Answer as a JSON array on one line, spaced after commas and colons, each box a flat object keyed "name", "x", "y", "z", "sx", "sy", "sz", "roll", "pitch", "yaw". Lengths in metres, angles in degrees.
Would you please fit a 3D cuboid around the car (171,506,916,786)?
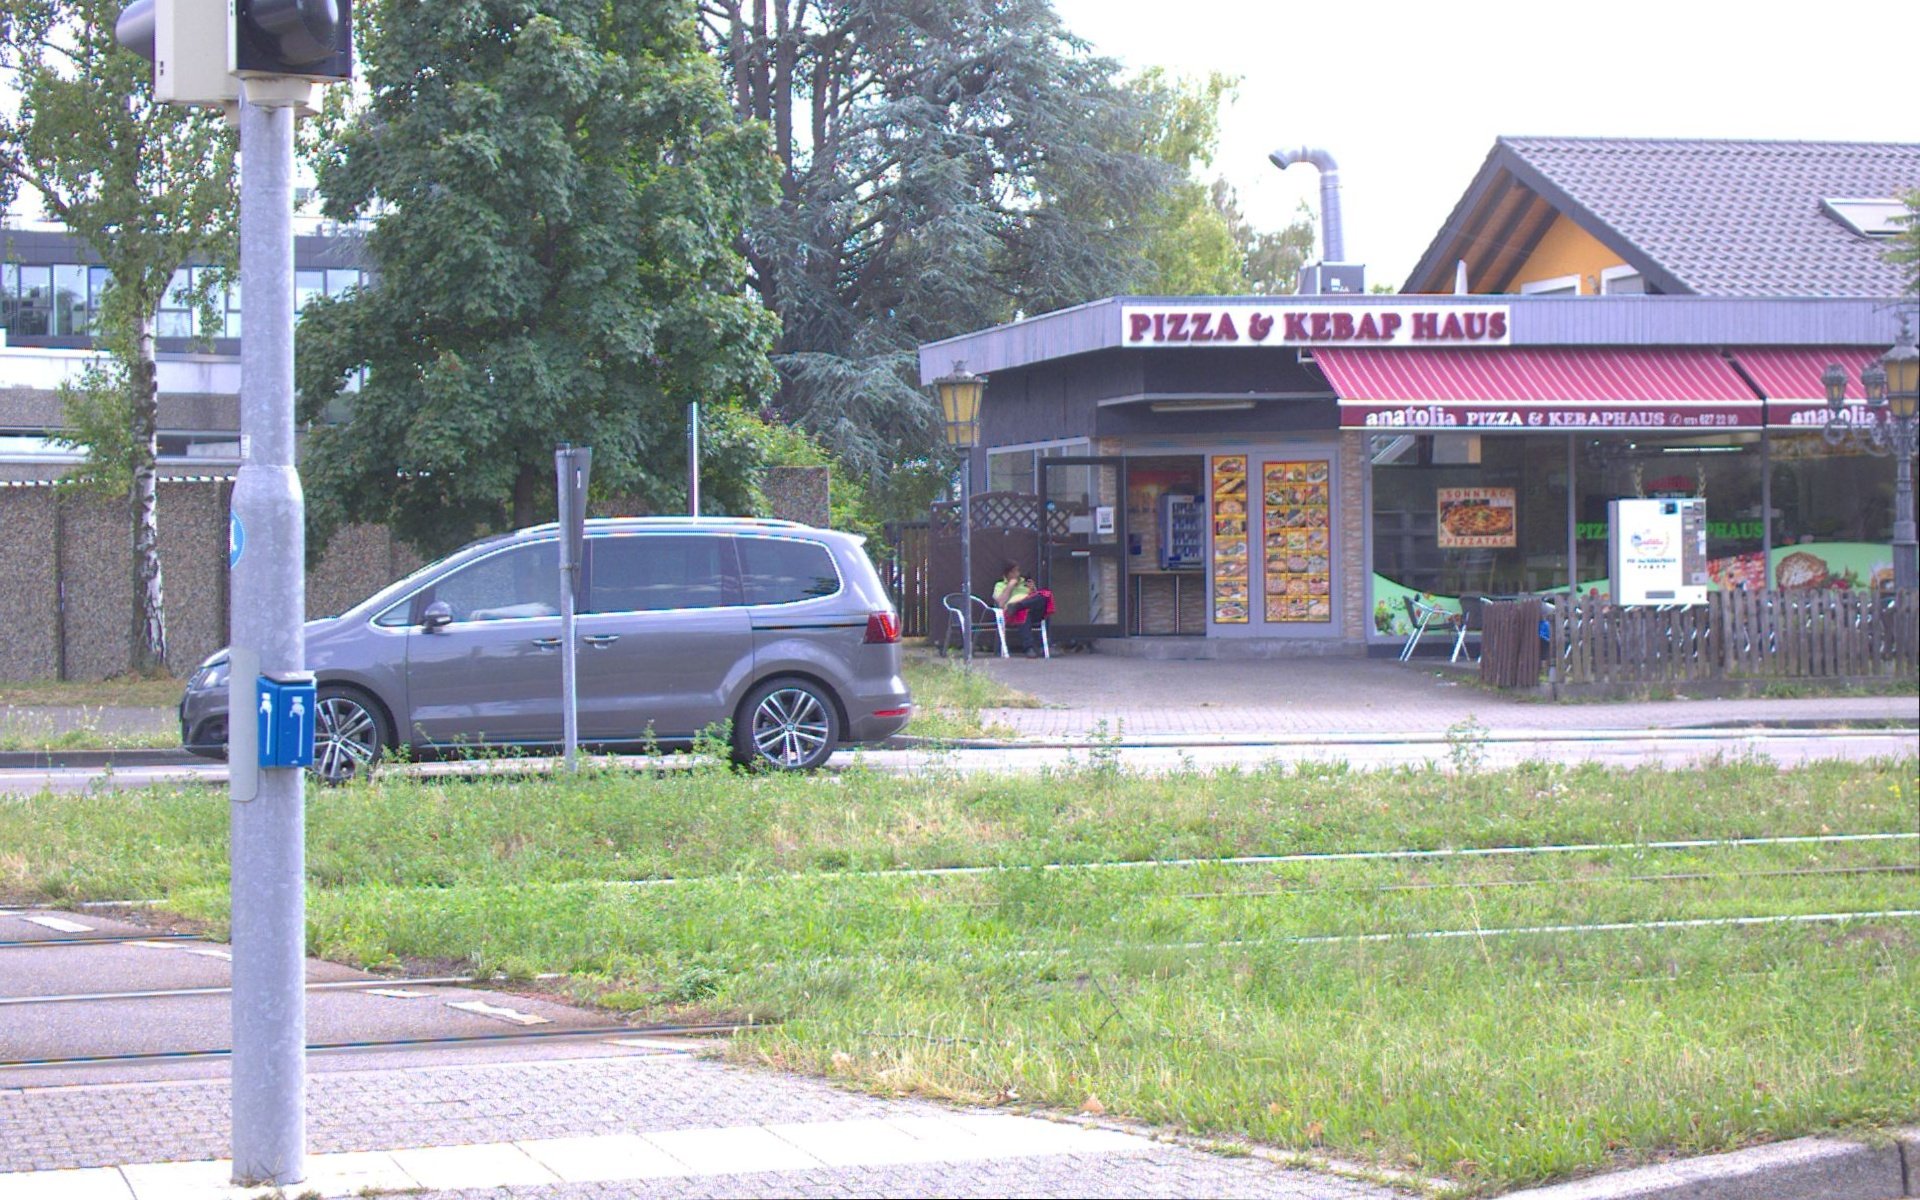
[{"name": "car", "x": -2.819, "y": 0.257, "z": 22.913, "sx": 4.723, "sy": 1.716, "sz": 2.001, "roll": -1, "pitch": 1, "yaw": -13}]

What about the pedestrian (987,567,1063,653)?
[{"name": "pedestrian", "x": 0.729, "y": 0.111, "z": 38.885, "sx": 0.724, "sy": 0.926, "sz": 0.777, "roll": 0, "pitch": 3, "yaw": -8}]
